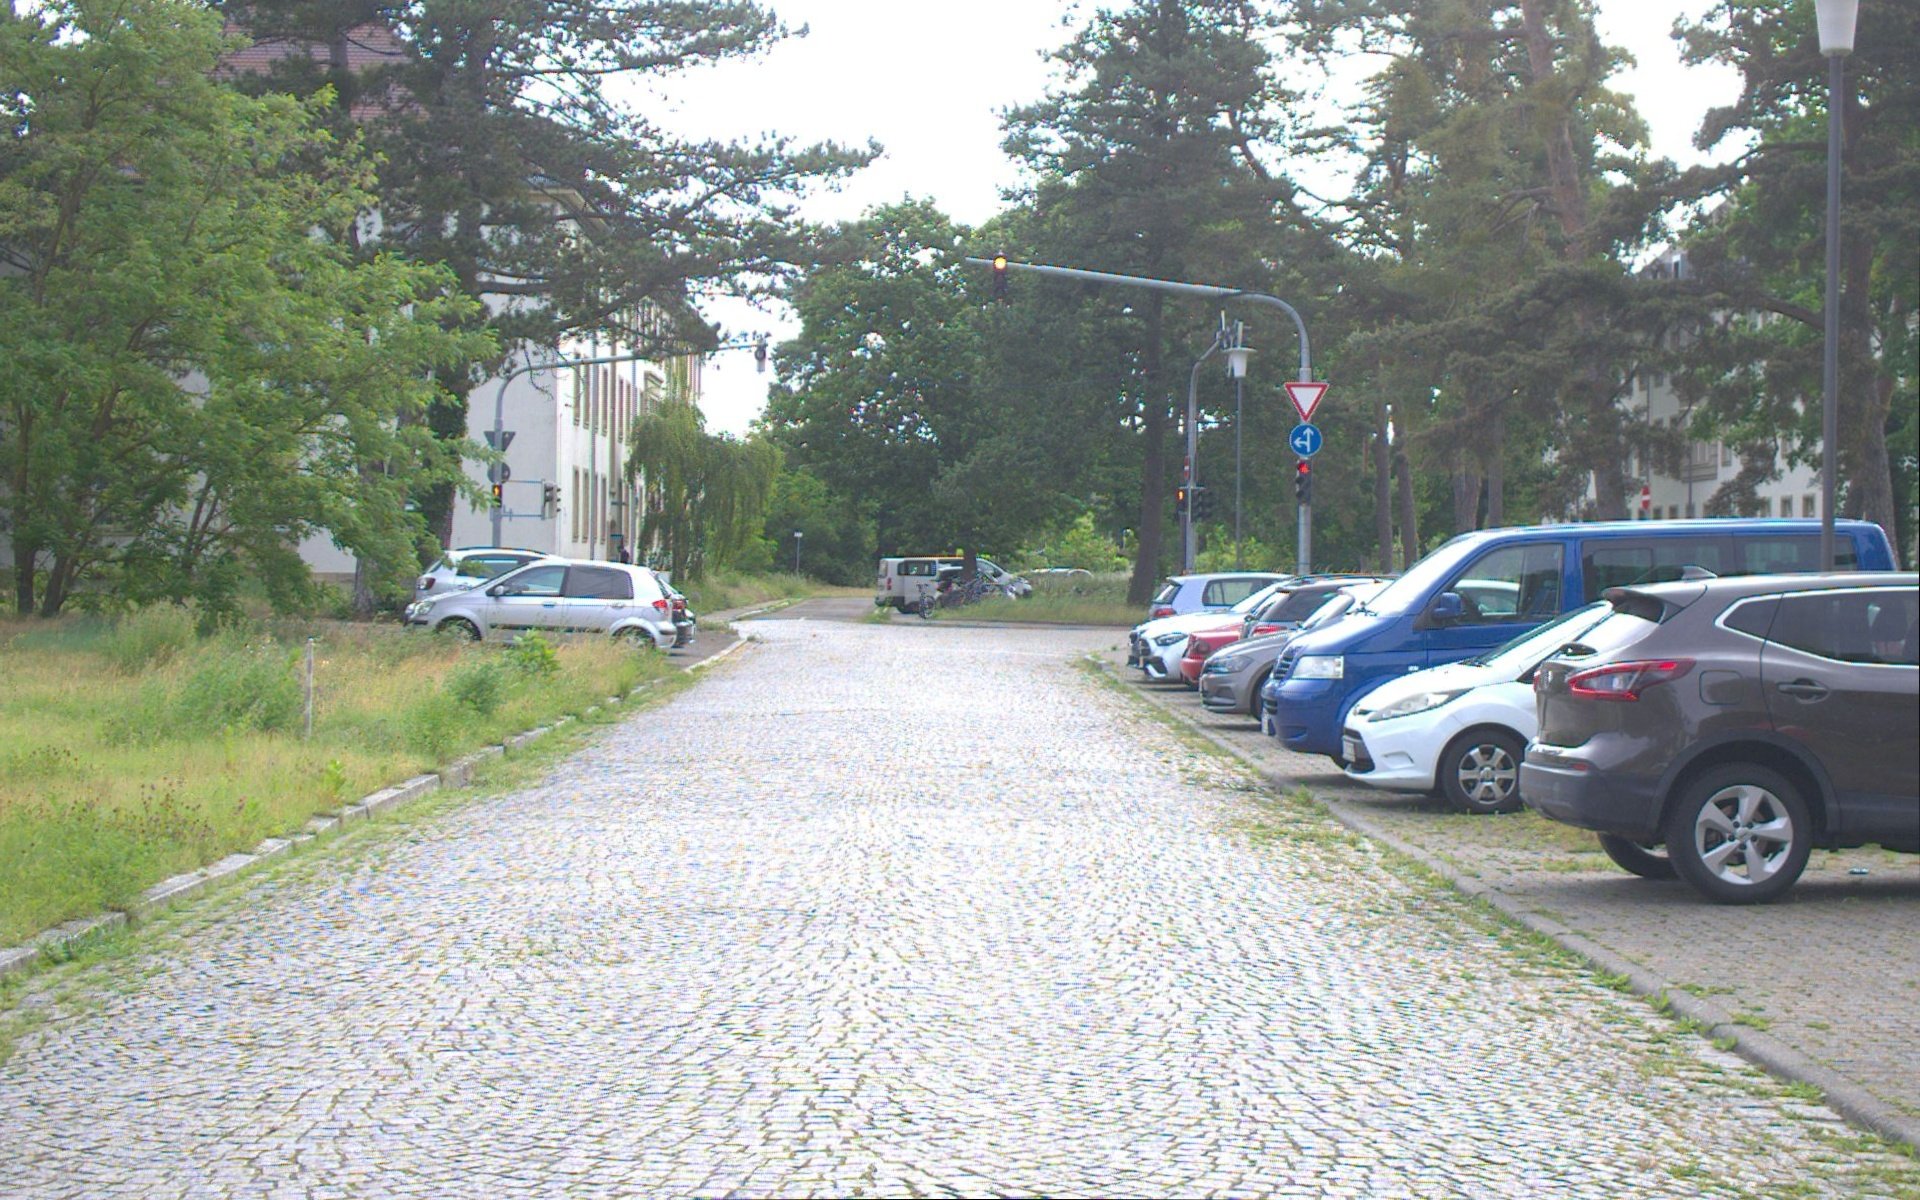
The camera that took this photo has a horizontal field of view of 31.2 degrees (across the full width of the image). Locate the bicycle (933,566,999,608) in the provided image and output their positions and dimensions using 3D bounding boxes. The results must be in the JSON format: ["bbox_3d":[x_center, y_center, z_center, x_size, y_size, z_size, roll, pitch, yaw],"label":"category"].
[{"bbox_3d":[0.182,-0.394,102.792,1.881,1.167,0.665,2,0,-6],"label":"bicycle"}]

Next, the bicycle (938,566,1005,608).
[{"bbox_3d":[0.351,-0.380,101.933,1.881,1.167,0.665,2,0,-6],"label":"bicycle"}]

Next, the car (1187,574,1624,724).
[{"bbox_3d":[4.388,0.468,34.324,4.130,1.442,1.766,0,1,0],"label":"car"}]

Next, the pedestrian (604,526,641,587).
[{"bbox_3d":[-11.228,-1.445,114.360,1.074,1.952,1.121,2,0,0],"label":"pedestrian"}]

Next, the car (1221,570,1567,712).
[{"bbox_3d":[4.651,0.423,37.193,3.505,1.482,1.743,0,1,-1],"label":"car"}]

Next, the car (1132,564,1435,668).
[{"bbox_3d":[4.667,0.214,49.843,4.134,1.458,1.634,0,1,-6],"label":"car"}]

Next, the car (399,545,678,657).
[{"bbox_3d":[-6.621,-0.005,54.242,4.297,1.726,1.653,0,1,-6],"label":"car"}]

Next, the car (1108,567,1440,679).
[{"bbox_3d":[4.297,0.298,47.288,4.227,1.474,1.710,0,1,-11],"label":"car"}]

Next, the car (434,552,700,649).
[{"bbox_3d":[-6.467,-0.009,56.697,4.297,1.548,1.812,0,1,-6],"label":"car"}]

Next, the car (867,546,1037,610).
[{"bbox_3d":[-0.283,-0.753,116.732,5.374,2.094,2.179,1,1,-13],"label":"car"}]

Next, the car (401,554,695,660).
[{"bbox_3d":[-6.149,0.091,51.440,4.297,1.548,1.812,0,1,-6],"label":"car"}]

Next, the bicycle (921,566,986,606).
[{"bbox_3d":[-0.204,-0.430,105.427,1.881,1.167,0.665,2,0,-6],"label":"bicycle"}]

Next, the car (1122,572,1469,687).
[{"bbox_3d":[4.316,0.361,44.521,4.184,1.432,1.756,0,1,-8],"label":"car"}]

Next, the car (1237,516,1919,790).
[{"bbox_3d":[4.610,0.368,26.110,4.795,1.997,1.966,0,1,-2],"label":"car"}]

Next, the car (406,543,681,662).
[{"bbox_3d":[-5.880,0.018,48.844,3.720,1.476,1.673,3,1,-3],"label":"car"}]

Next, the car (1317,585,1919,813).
[{"bbox_3d":[4.619,0.644,23.567,4.097,1.474,1.722,0,1,-3],"label":"car"}]

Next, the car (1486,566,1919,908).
[{"bbox_3d":[4.912,0.631,17.211,4.203,1.589,1.953,0,1,-3],"label":"car"}]

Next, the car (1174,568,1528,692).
[{"bbox_3d":[4.759,0.356,42.161,4.104,1.471,1.685,0,1,-2],"label":"car"}]

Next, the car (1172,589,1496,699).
[{"bbox_3d":[4.289,0.499,39.817,3.587,1.218,1.628,0,1,1],"label":"car"}]

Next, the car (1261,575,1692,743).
[{"bbox_3d":[4.665,0.516,31.421,3.653,1.474,1.766,0,1,-1],"label":"car"}]
